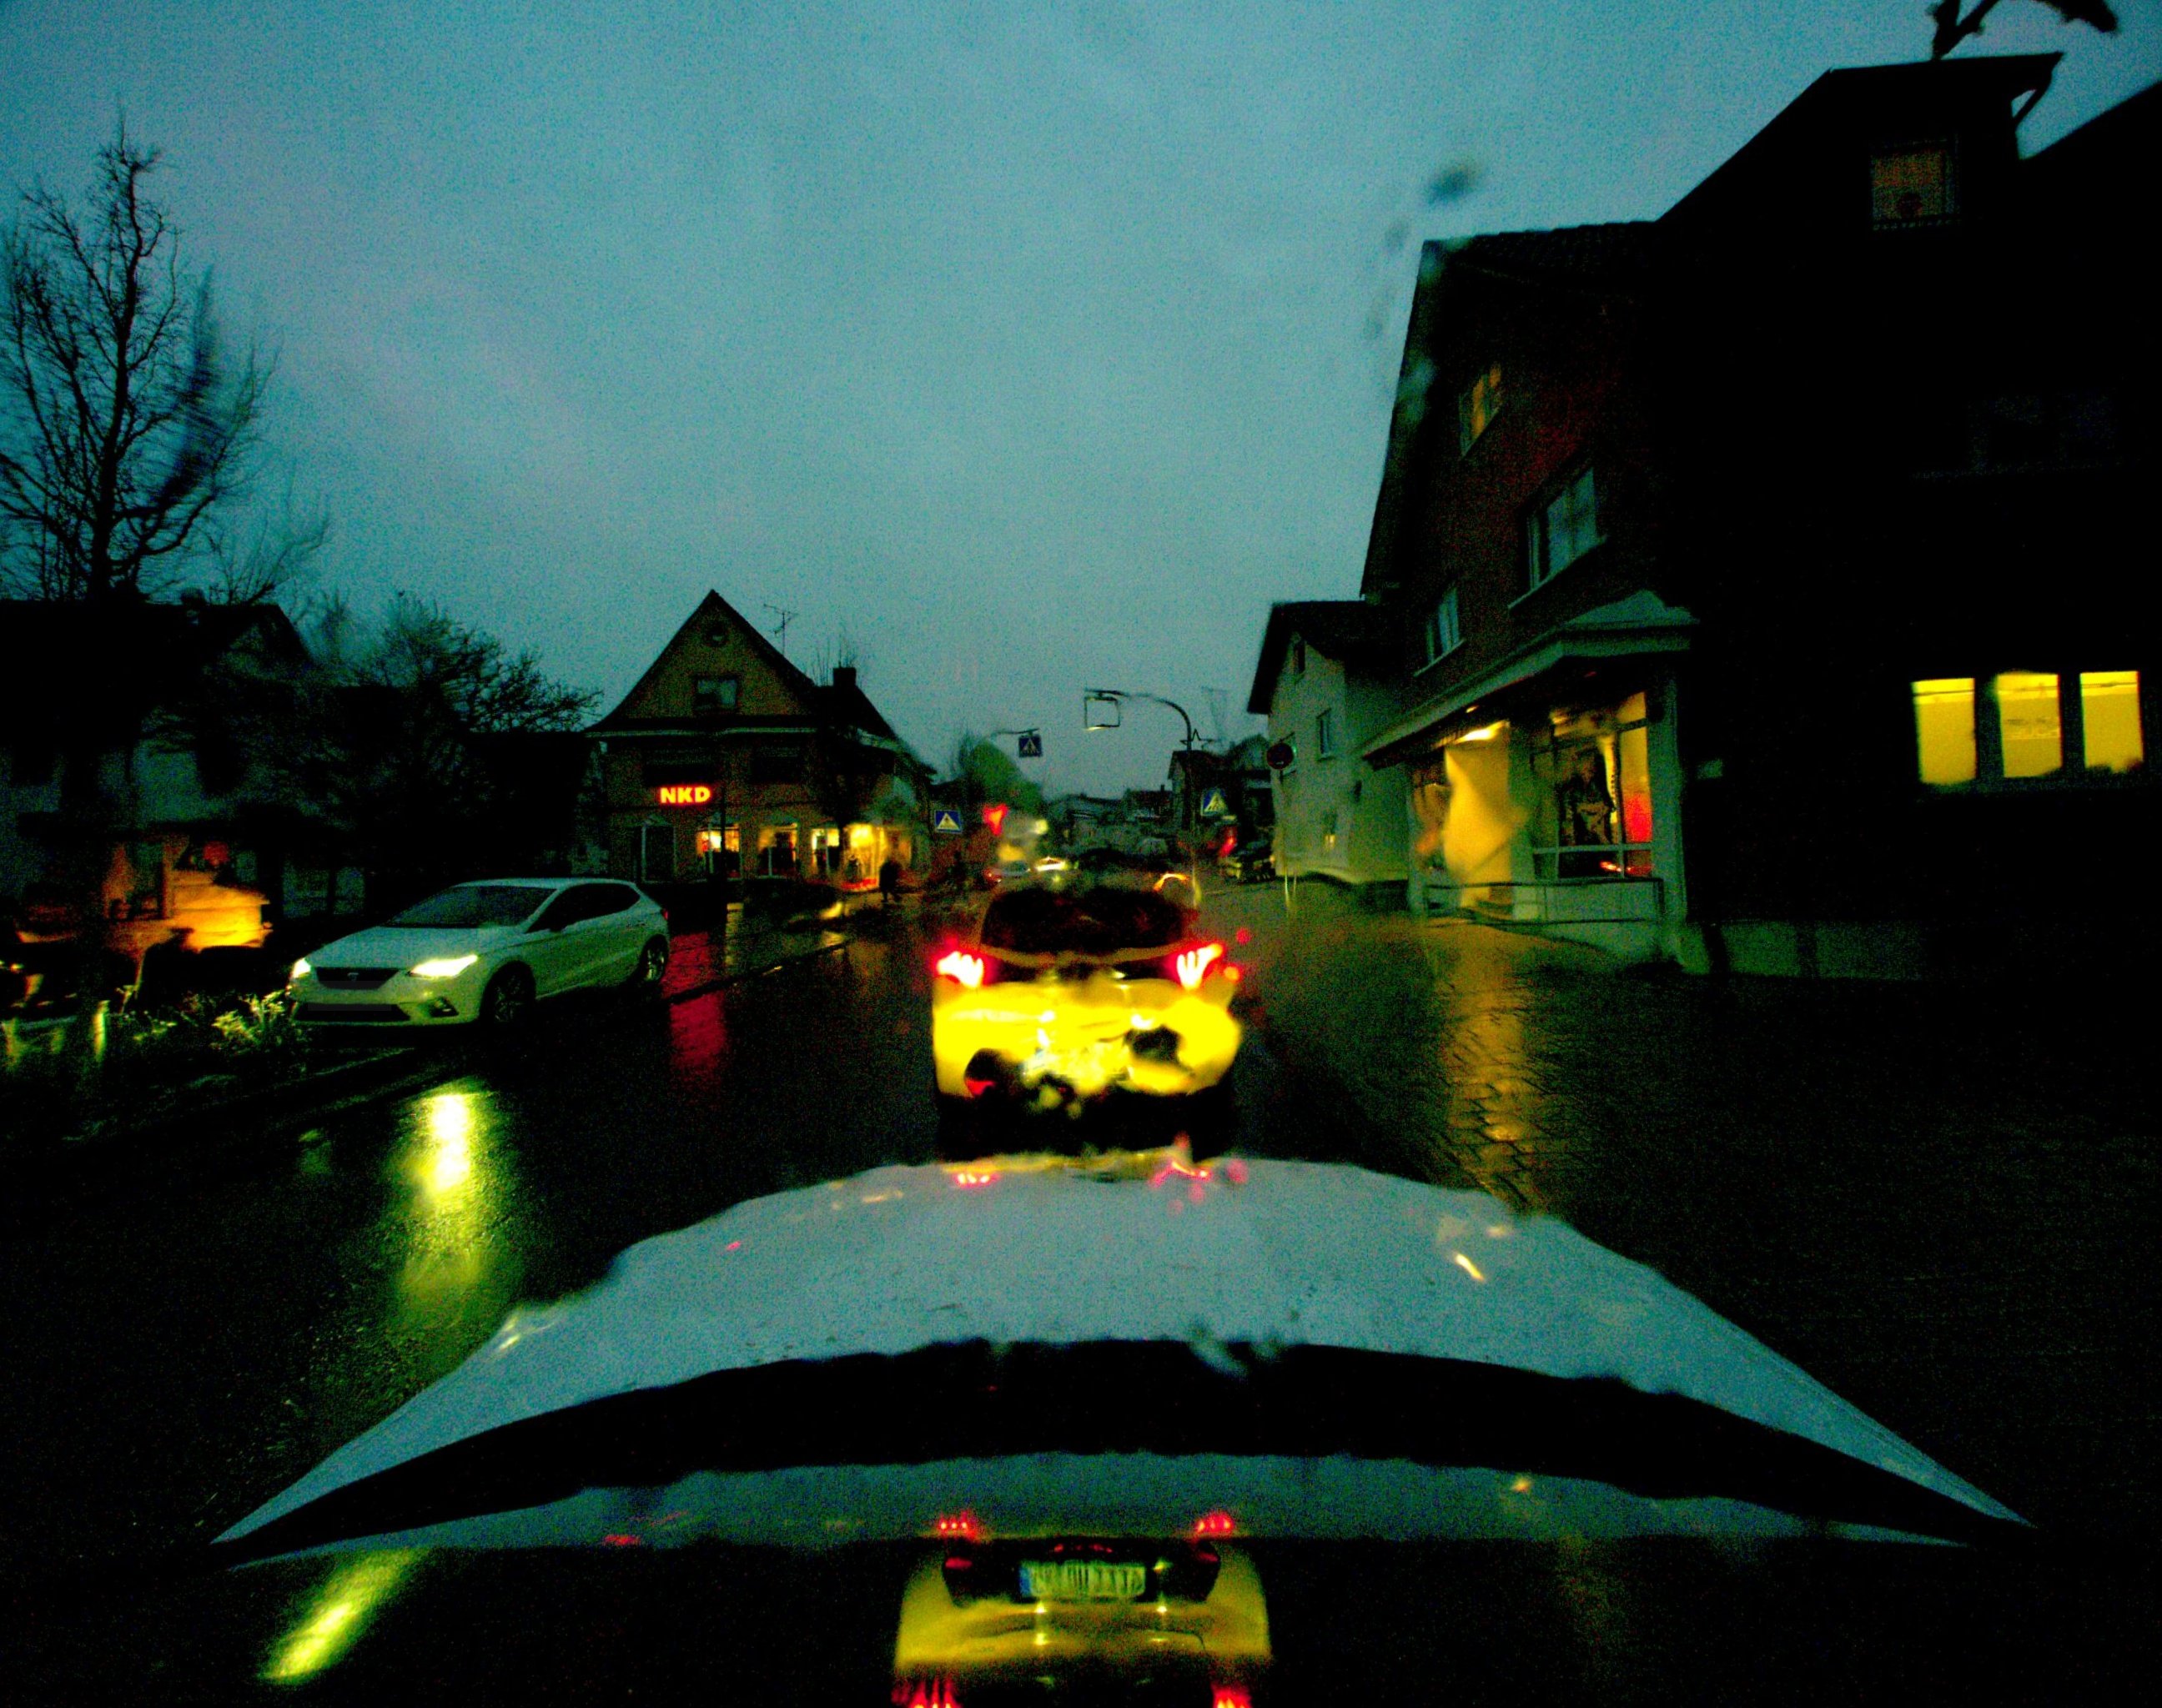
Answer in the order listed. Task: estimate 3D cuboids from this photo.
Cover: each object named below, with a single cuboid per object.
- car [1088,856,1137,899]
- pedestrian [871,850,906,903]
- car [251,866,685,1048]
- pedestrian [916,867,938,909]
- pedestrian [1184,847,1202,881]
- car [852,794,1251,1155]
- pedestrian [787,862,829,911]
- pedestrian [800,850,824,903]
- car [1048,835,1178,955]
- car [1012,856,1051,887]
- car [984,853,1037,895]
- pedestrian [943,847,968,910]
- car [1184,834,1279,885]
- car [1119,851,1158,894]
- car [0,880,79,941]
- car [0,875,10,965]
[{"bbox_3d":[1.349,0.894,32.963,1.819,1.601,4.586,-1,0,4],"label":"car"},{"bbox_3d":[-6.423,0.733,27.254,0.971,1.742,0.960,0,0,-4],"label":"pedestrian"},{"bbox_3d":[-6.247,0.914,9.007,1.663,1.516,4.002,0,0,2],"label":"car"},{"bbox_3d":[-4.682,1.027,24.774,0.551,1.233,0.433,-1,-1,-2],"label":"pedestrian"},{"bbox_3d":[6.746,0.589,49.160,1.011,2.014,1.277,-1,-1,7],"label":"pedestrian"},{"bbox_3d":[0.031,0.604,6.462,1.984,1.795,4.654,-2,0,5],"label":"car"},{"bbox_3d":[-8.548,1.009,25.566,0.886,1.417,0.777,5,-1,6],"label":"pedestrian"},{"bbox_3d":[-9.021,0.747,27.348,0.587,1.742,0.683,-1,-1,-5],"label":"pedestrian"},{"bbox_3d":[0.563,0.590,13.415,1.790,1.662,4.003,-1,-1,3],"label":"car"},{"bbox_3d":[-2.904,1.012,48.504,1.987,1.752,4.361,-1,0,0],"label":"car"},{"bbox_3d":[-3.510,0.974,41.464,1.985,2.013,4.366,-1,0,4],"label":"car"},{"bbox_3d":[-3.788,0.735,24.679,0.701,1.876,0.616,0,0,-5],"label":"pedestrian"},{"bbox_3d":[6.124,0.231,33.463,3.679,2.014,1.691,-1,-1,5],"label":"car"},{"bbox_3d":[2.926,0.916,42.032,1.637,2.013,3.999,-3,0,-1],"label":"car"},{"bbox_3d":[-29.491,1.522,21.327,3.894,1.519,1.608,-1,0,-12],"label":"car"},{"bbox_3d":[-21.424,1.261,13.677,1.848,1.720,3.989,-1,-1,-8],"label":"car"}]
